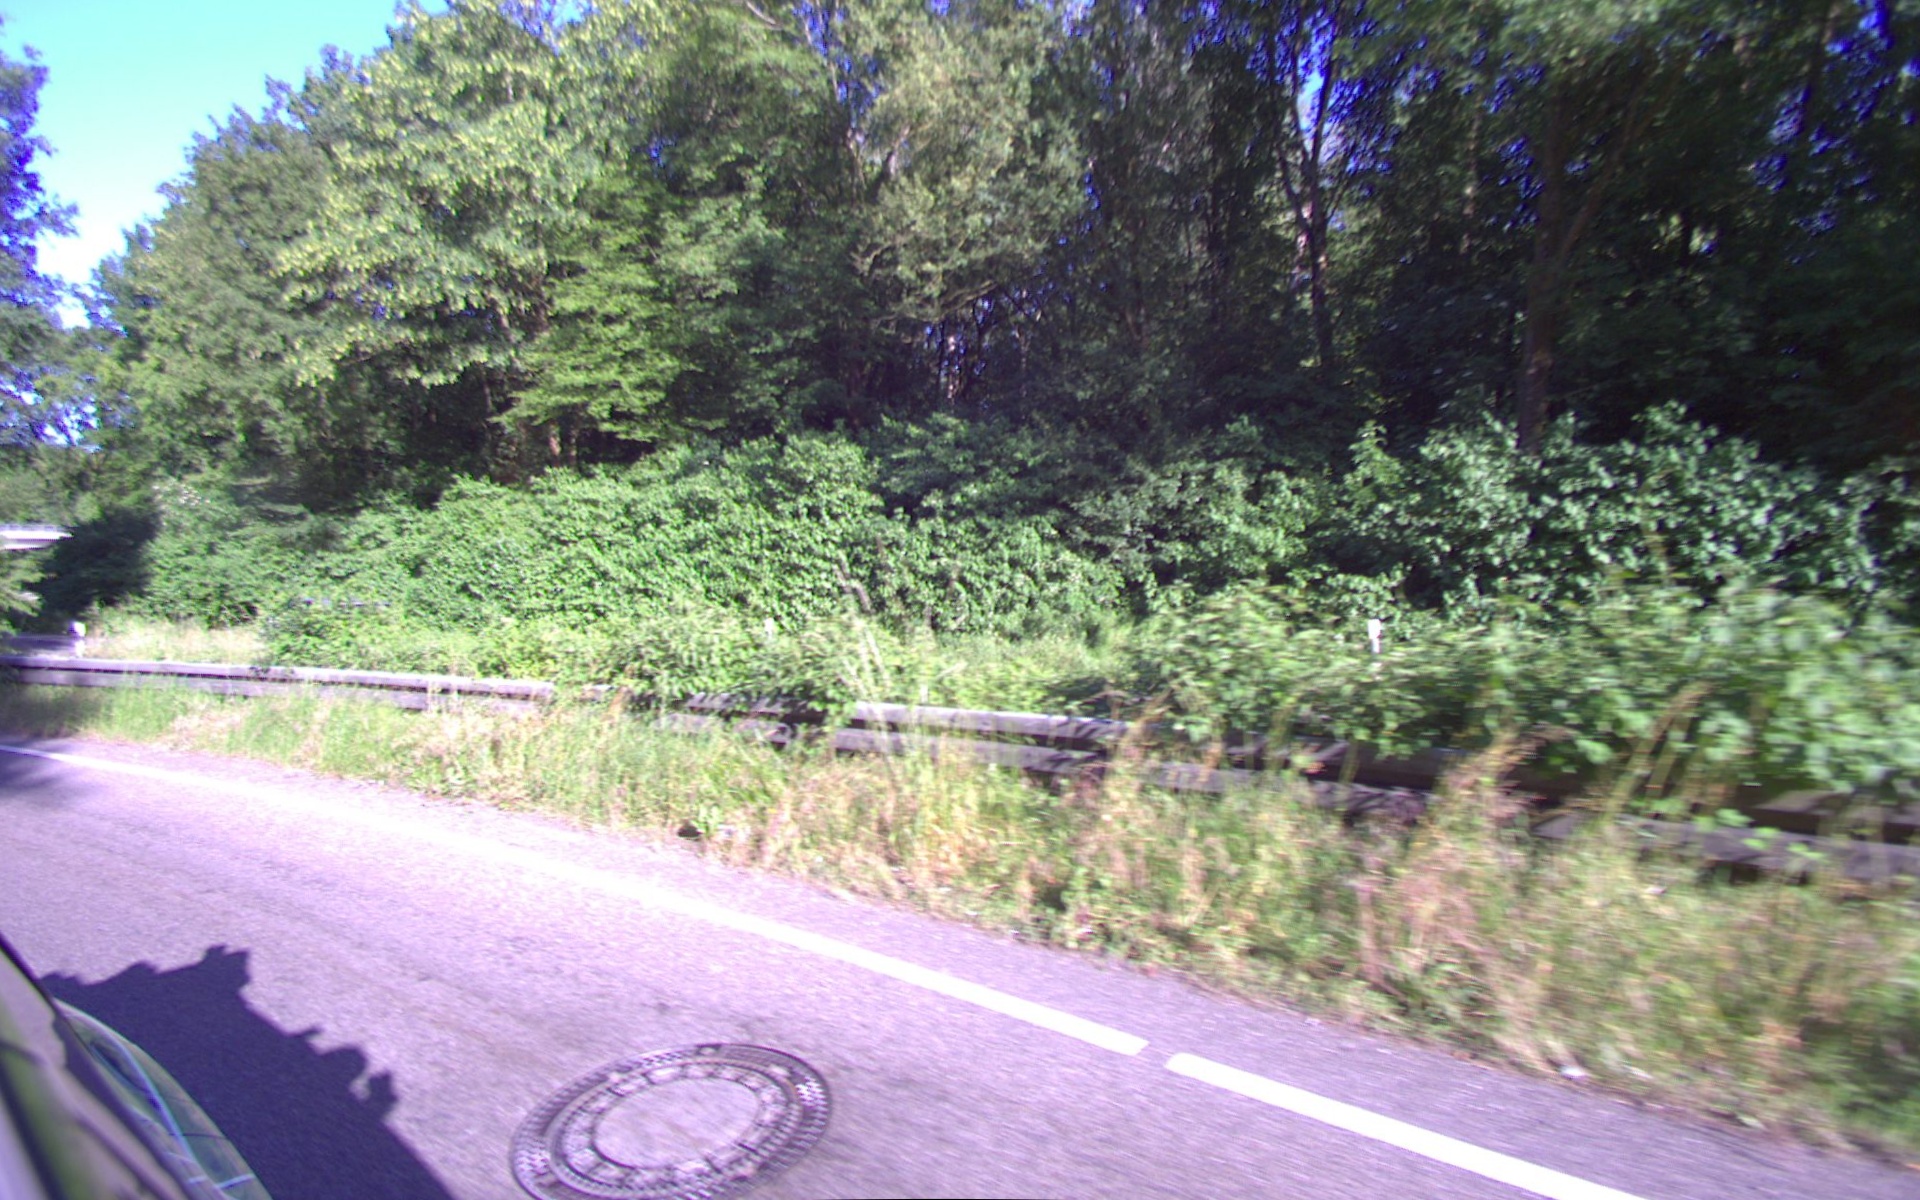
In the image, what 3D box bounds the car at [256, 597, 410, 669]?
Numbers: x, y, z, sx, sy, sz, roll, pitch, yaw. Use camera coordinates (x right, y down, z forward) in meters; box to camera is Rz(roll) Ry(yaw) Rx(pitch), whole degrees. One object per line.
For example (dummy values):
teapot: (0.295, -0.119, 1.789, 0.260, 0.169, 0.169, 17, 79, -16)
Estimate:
car: (-14.329, 0.705, 23.061, 3.994, 1.498, 1.705, 0, 0, 38)
